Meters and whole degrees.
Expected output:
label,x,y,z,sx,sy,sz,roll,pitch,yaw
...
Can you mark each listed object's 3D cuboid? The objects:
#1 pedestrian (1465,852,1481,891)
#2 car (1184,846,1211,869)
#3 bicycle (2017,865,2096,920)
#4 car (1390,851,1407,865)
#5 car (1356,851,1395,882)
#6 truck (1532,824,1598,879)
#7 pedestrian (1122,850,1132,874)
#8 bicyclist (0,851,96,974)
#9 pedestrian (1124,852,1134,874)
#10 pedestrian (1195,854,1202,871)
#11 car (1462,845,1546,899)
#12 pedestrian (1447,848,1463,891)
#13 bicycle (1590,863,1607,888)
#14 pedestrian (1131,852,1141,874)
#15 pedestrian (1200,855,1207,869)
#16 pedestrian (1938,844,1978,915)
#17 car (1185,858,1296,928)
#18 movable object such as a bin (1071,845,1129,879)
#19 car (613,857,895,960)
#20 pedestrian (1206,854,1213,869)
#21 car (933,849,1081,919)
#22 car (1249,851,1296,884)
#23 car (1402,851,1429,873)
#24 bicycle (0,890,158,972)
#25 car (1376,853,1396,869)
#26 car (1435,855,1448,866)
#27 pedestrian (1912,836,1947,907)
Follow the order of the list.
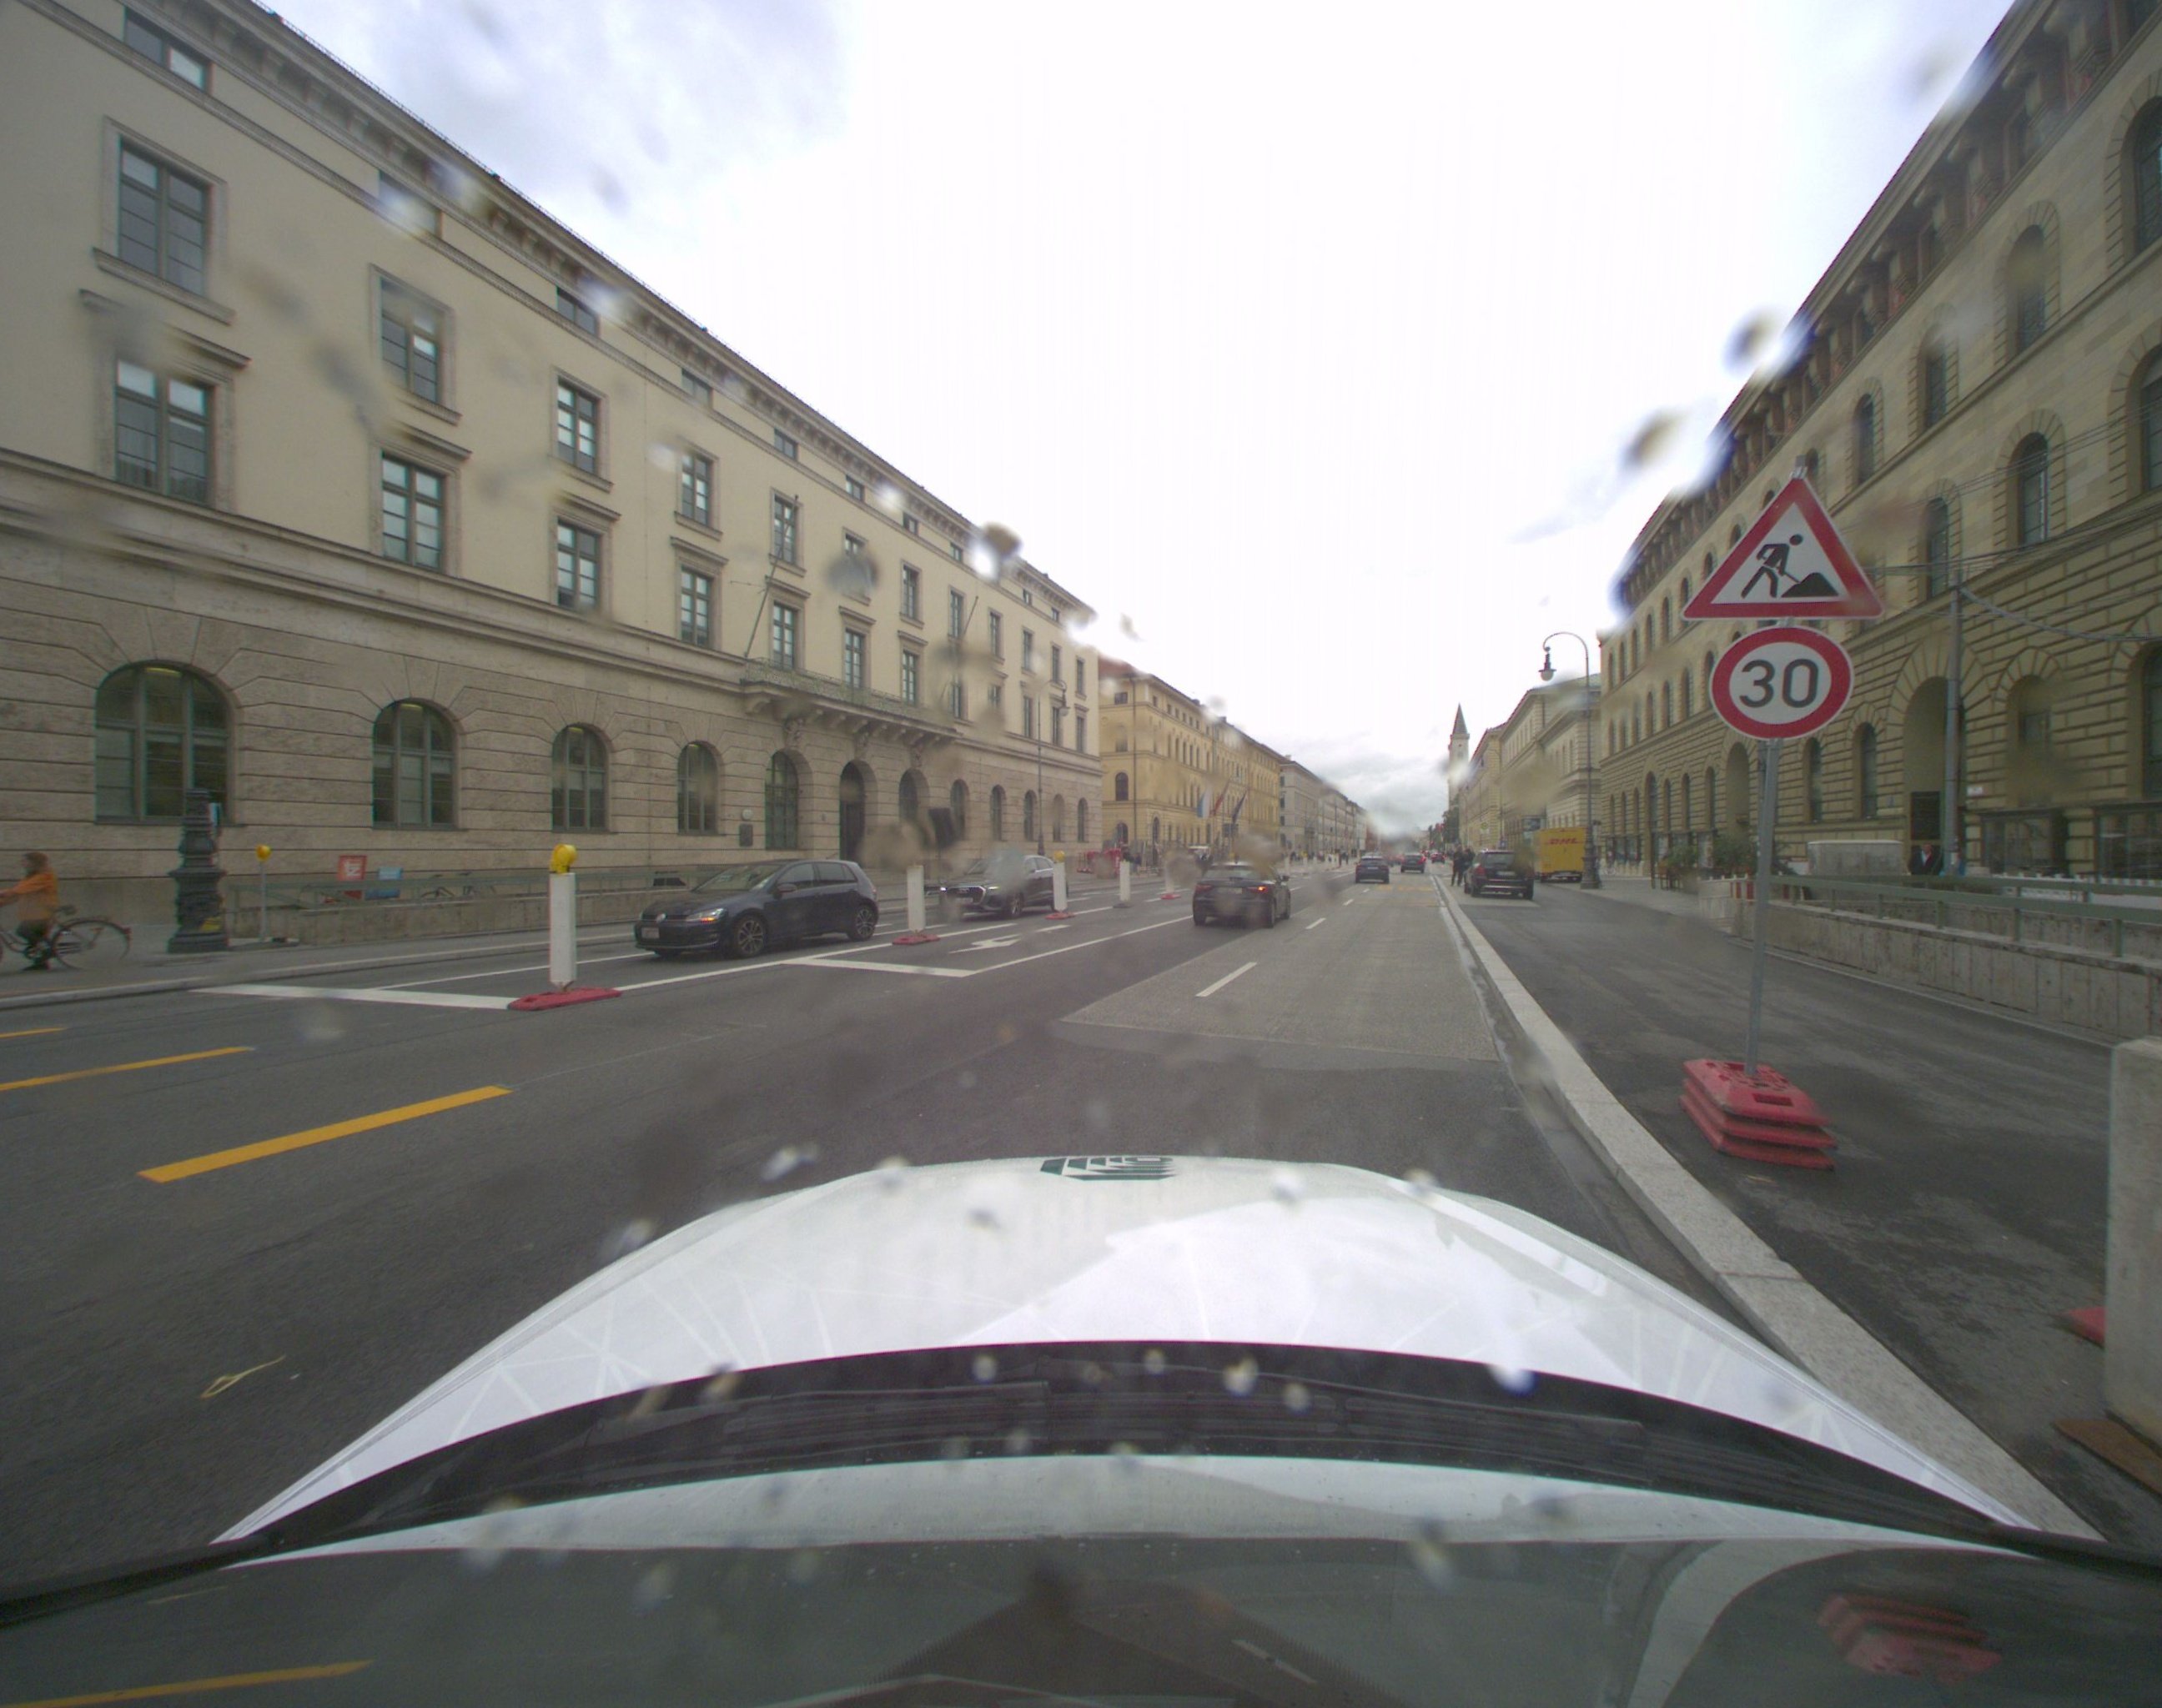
label,x,y,z,sx,sy,sz,roll,pitch,yaw
pedestrian,17.463,0.772,36.286,0.610,1.702,0.544,0,-1,26
car,12.034,0.373,83.712,1.723,2.289,4.022,0,-1,23
bicycle,19.716,0.746,16.499,0.373,1.022,1.660,0,0,26
car,41.883,0.558,107.436,1.976,1.772,4.022,0,0,23
car,16.172,0.686,44.593,1.753,1.617,4.022,0,-1,23
truck,25.980,-0.067,43.919,2.598,2.765,5.840,0,-1,27
pedestrian,3.701,0.613,65.785,0.674,1.931,0.655,0,-1,19
bicyclist,-14.373,0.781,11.262,0.785,1.615,0.750,0,-1,25
pedestrian,3.678,0.675,62.490,0.548,1.676,0.620,0,-1,19
pedestrian,10.862,0.773,75.212,0.548,1.530,0.620,0,-1,19
car,14.439,0.571,28.032,2.051,1.661,4.244,1,0,20
pedestrian,16.807,0.694,36.609,0.610,1.875,0.544,0,-2,27
bicycle,21.829,0.912,34.338,0.513,1.022,1.660,0,-1,30
pedestrian,4.244,0.684,62.305,0.607,1.653,0.620,0,-1,19
pedestrian,11.987,0.771,79.515,0.535,1.406,0.620,0,-1,19
pedestrian,19.697,0.573,18.295,0.494,1.554,0.635,-1,-2,37
car,3.779,0.799,18.716,1.848,1.388,4.020,1,0,20
movable object such as a bin,1.310,0.513,51.552,1.498,2.014,6.008,0,-1,23
car,-5.022,0.782,13.204,1.728,1.388,4.263,-2,-1,22
pedestrian,12.542,0.746,79.332,0.535,1.411,0.620,0,-1,19
car,-1.710,0.704,20.734,1.770,1.567,4.601,-2,-1,22
car,10.098,0.701,42.772,1.753,1.617,4.022,0,-1,23
car,27.706,0.660,67.393,1.976,1.772,4.022,0,0,23
bicycle,-14.382,1.042,11.254,0.785,1.040,1.975,0,-1,25
car,34.729,0.749,92.720,1.976,1.772,4.022,0,0,23
car,57.664,1.044,130.383,1.843,1.579,4.022,0,-1,23
pedestrian,20.762,0.429,19.938,0.552,1.712,0.681,-1,-2,45
